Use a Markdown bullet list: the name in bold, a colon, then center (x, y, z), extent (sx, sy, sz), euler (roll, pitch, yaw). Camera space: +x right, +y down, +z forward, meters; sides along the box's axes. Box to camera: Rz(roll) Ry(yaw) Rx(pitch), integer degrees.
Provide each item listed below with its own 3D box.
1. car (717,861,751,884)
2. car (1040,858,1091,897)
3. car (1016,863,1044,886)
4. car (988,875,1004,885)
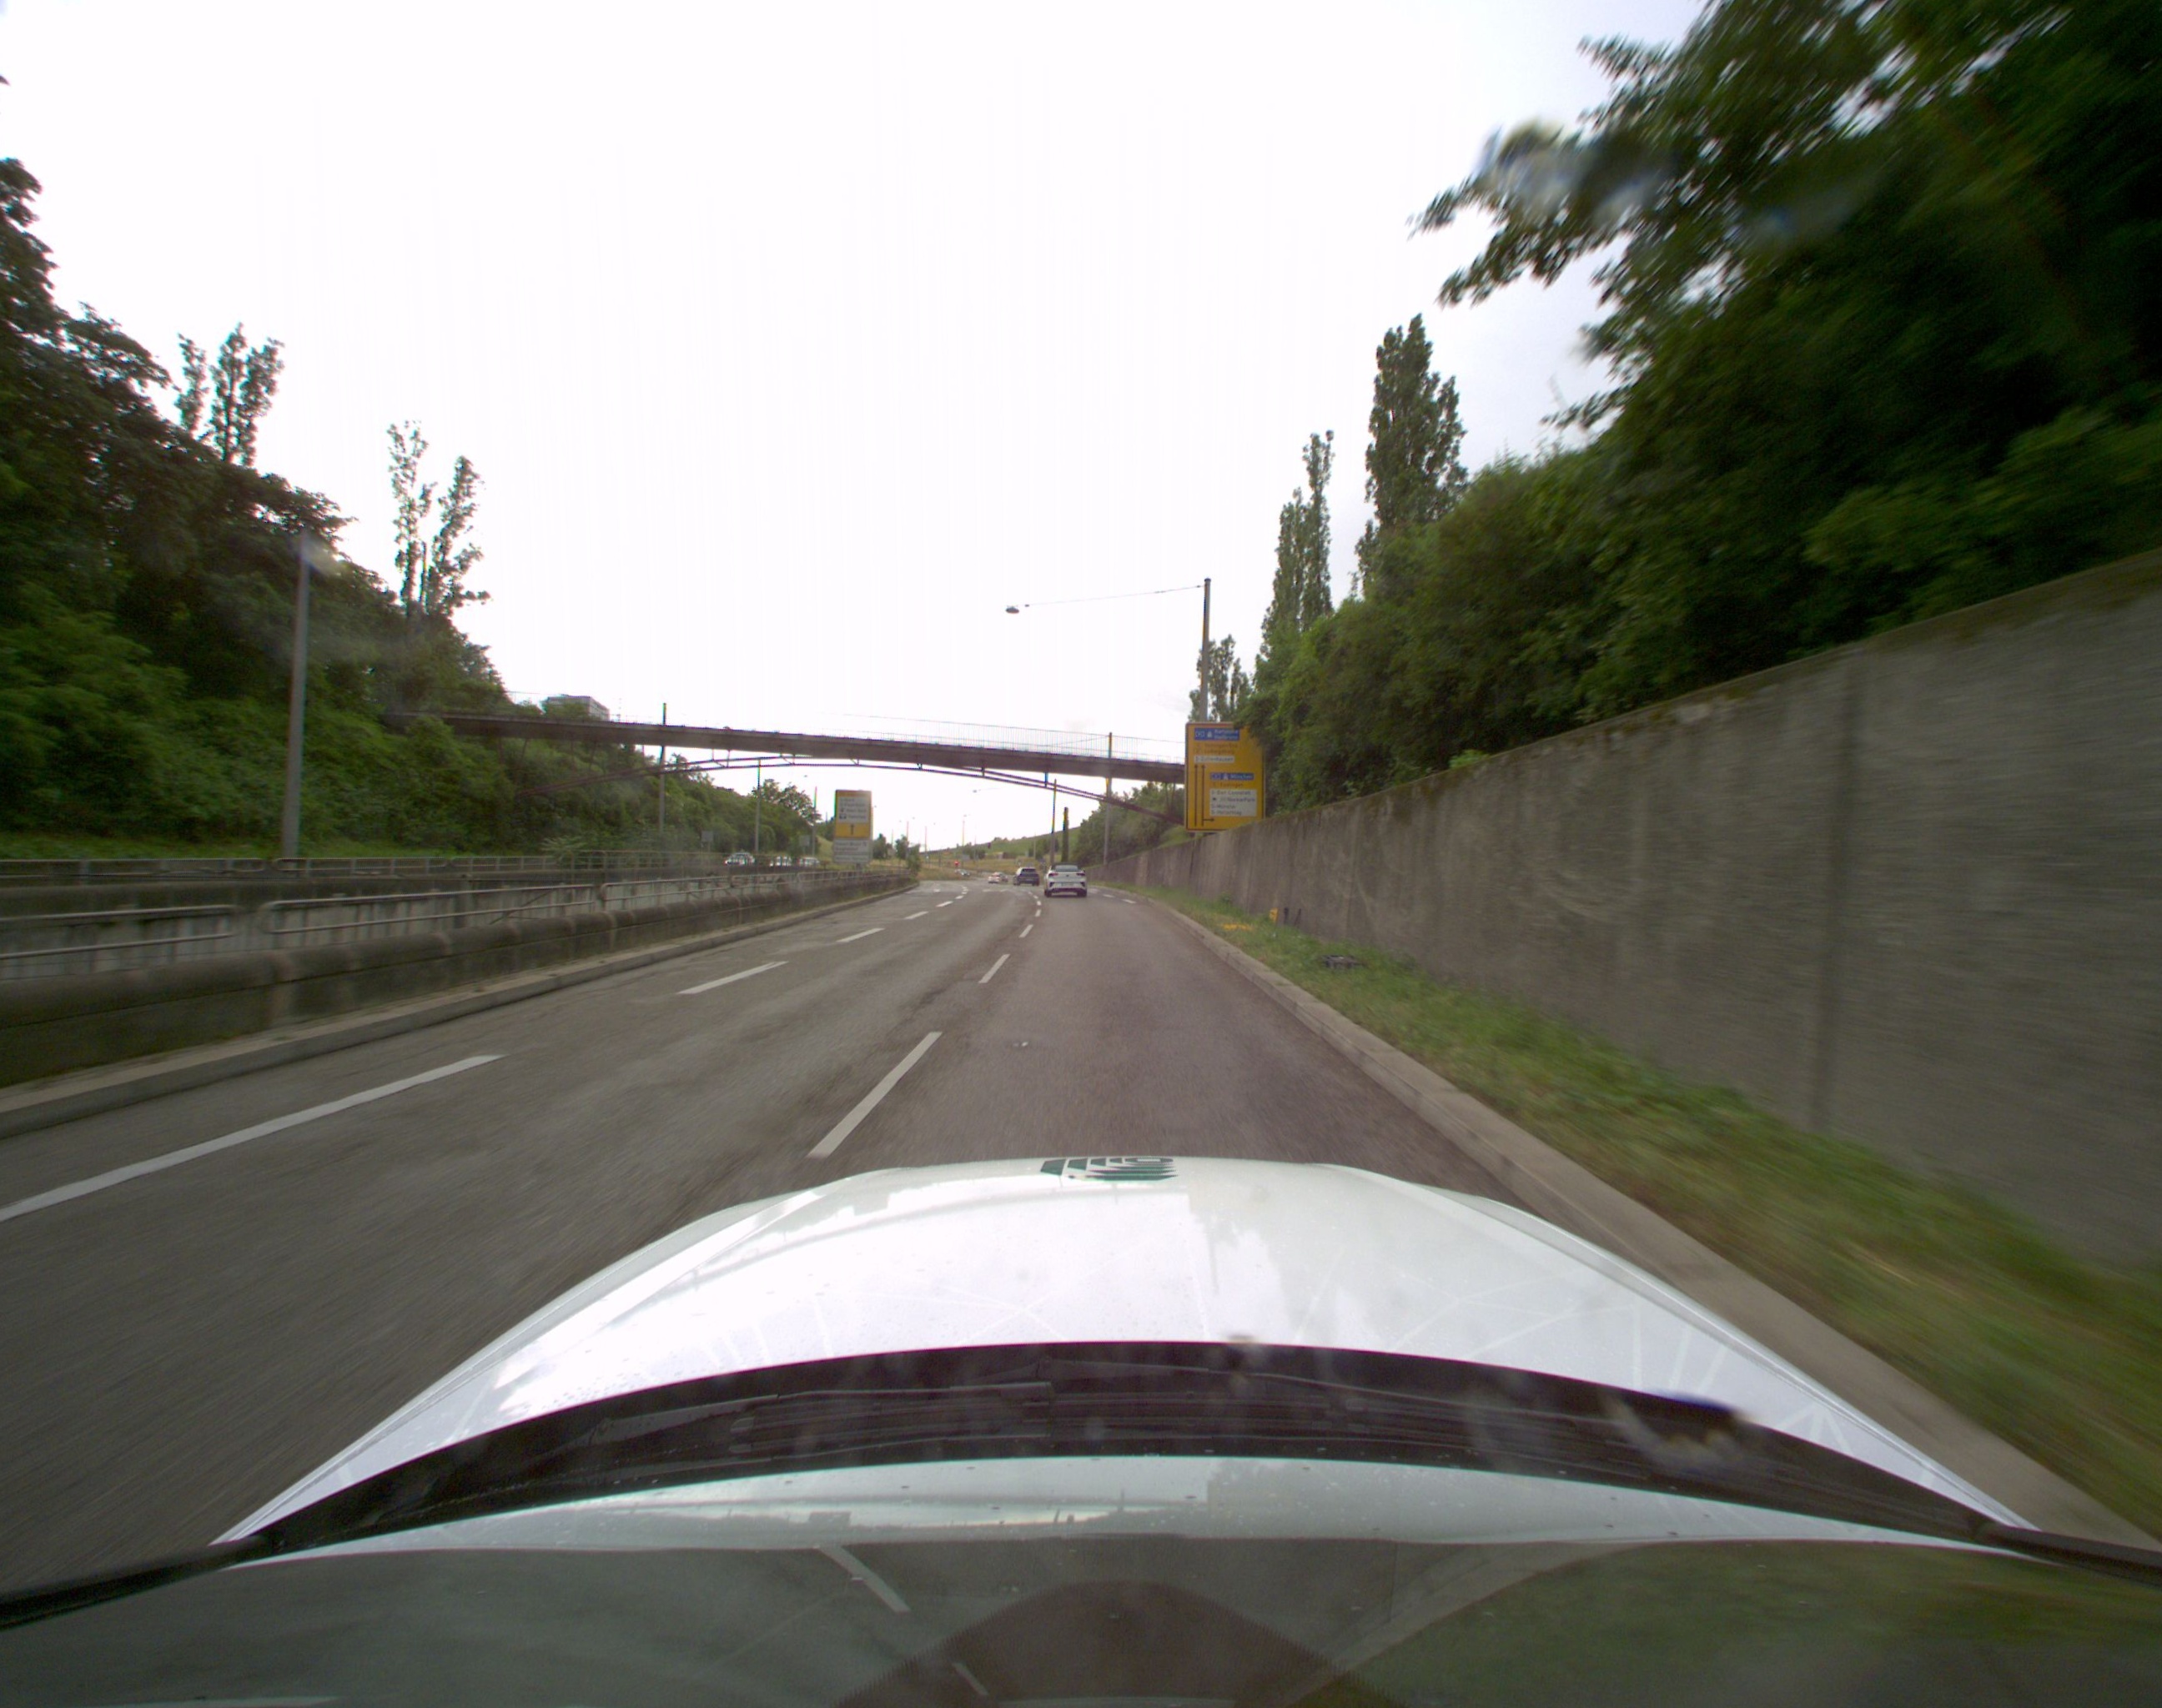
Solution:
- **car**: center (-29.666, 1.596, 69.765), extent (1.671, 1.916, 4.544), euler (-1, -1, -9)
- **car**: center (-0.756, 1.020, 36.870), extent (1.993, 1.578, 4.118), euler (-1, 0, -5)
- **car**: center (-4.092, 1.662, 64.886), extent (1.924, 1.600, 4.050), euler (2, -3, -7)
- **car**: center (-13.357, 4.122, 128.633), extent (1.767, 1.519, 3.728), euler (3, -2, 4)
